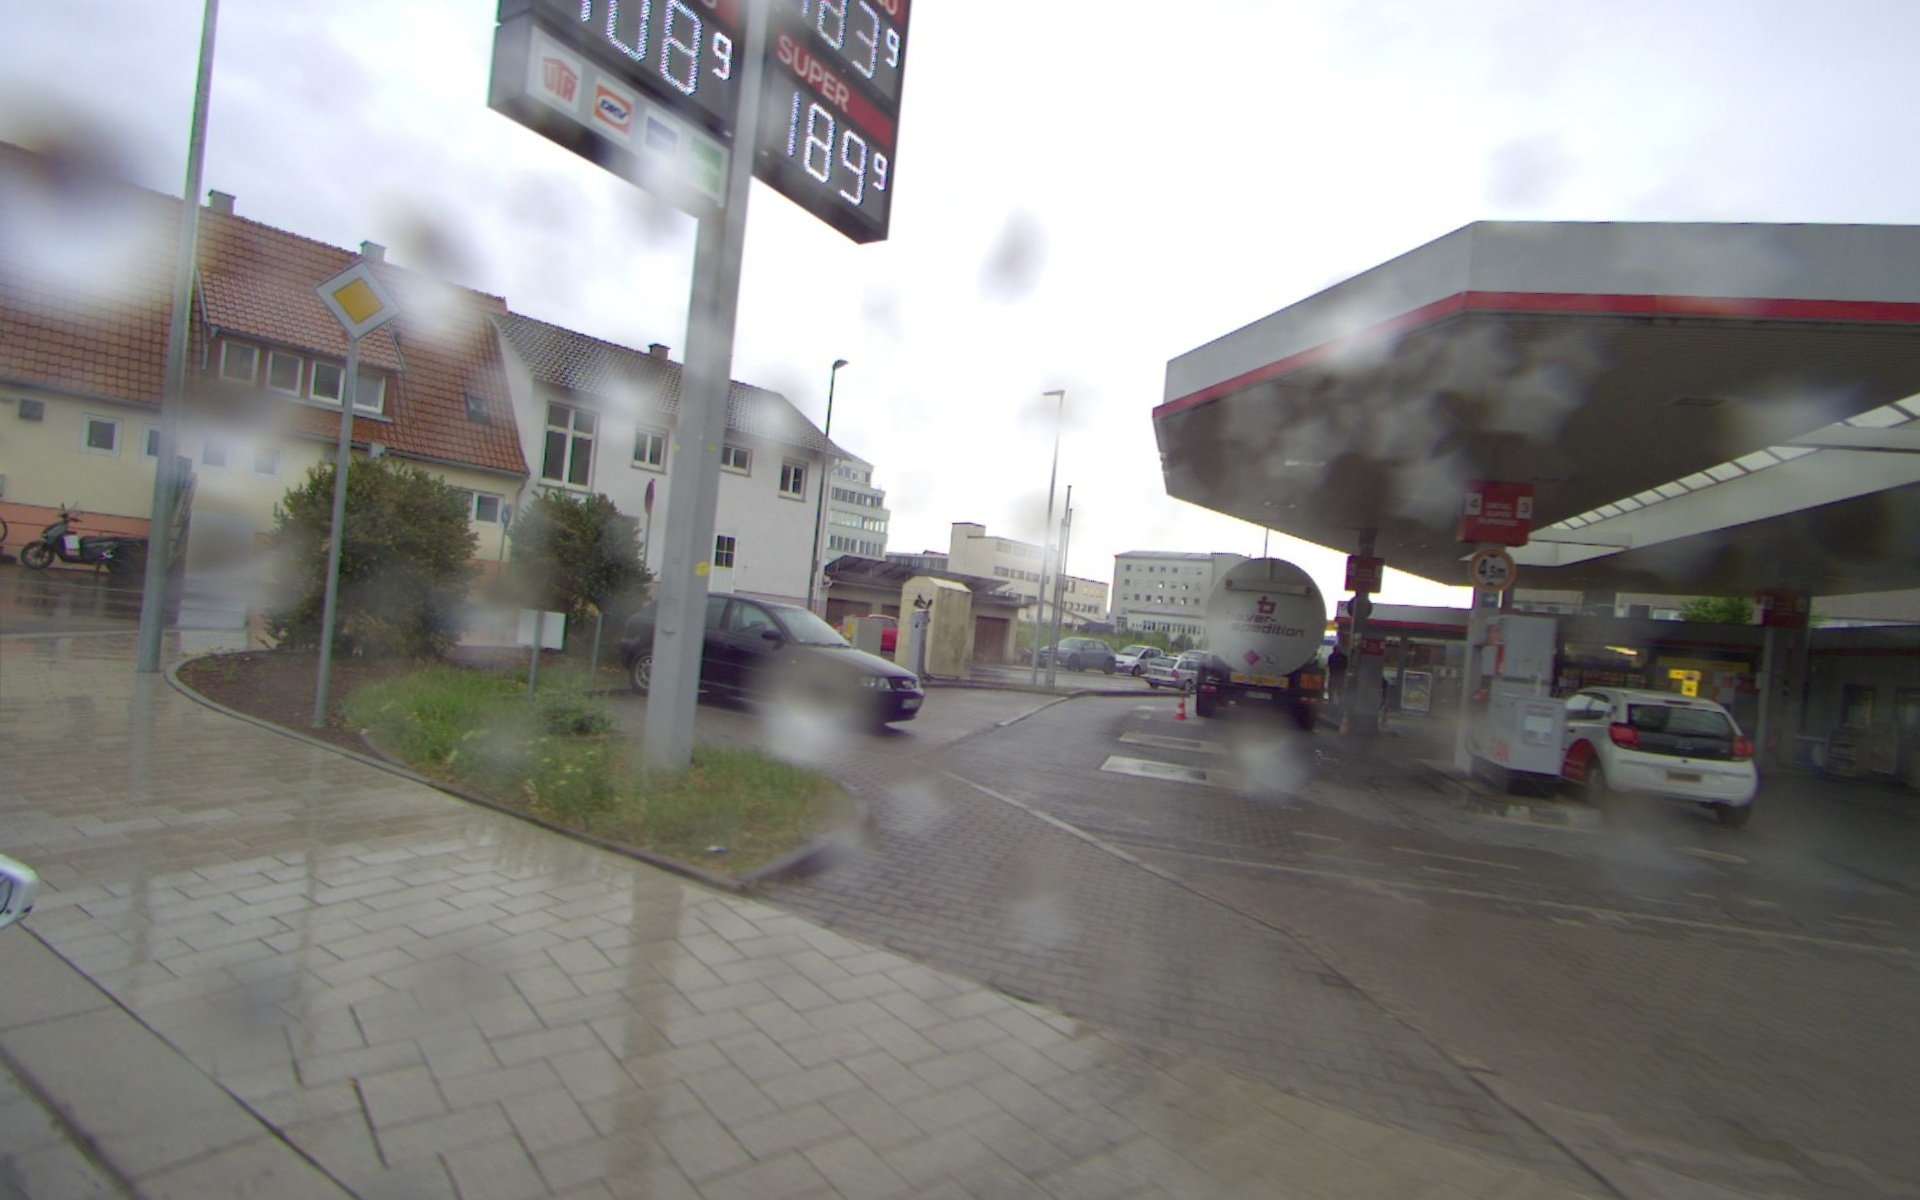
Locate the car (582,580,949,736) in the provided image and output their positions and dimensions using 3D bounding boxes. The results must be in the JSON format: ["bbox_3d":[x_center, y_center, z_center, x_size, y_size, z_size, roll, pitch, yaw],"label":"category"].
[{"bbox_3d":[-2.490,0.690,12.871,4.260,1.356,1.694,6,-1,22],"label":"car"}]

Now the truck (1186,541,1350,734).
[{"bbox_3d":[7.880,1.154,26.627,2.597,3.398,14.427,9,-1,16],"label":"truck"}]

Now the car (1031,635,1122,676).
[{"bbox_3d":[5.559,2.657,47.811,4.170,1.527,1.974,7,1,-45],"label":"car"}]

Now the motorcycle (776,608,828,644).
[{"bbox_3d":[-5.817,0.978,37.248,0.482,1.164,2.033,6,-2,37],"label":"motorcycle"}]

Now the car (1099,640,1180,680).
[{"bbox_3d":[9.360,3.140,52.262,4.171,1.609,1.974,8,1,-45],"label":"car"}]

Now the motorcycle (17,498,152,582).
[{"bbox_3d":[-18.618,-1.252,21.441,0.483,1.474,2.029,6,-1,44],"label":"motorcycle"}]

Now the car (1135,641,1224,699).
[{"bbox_3d":[9.051,2.898,41.334,1.969,2.038,3.988,6,-1,36],"label":"car"}]

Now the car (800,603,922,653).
[{"bbox_3d":[-3.630,1.066,37.523,1.972,1.393,4.240,7,0,41],"label":"car"}]

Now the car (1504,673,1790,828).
[{"bbox_3d":[8.901,1.852,13.482,1.742,1.444,4.003,7,-1,14],"label":"car"}]
